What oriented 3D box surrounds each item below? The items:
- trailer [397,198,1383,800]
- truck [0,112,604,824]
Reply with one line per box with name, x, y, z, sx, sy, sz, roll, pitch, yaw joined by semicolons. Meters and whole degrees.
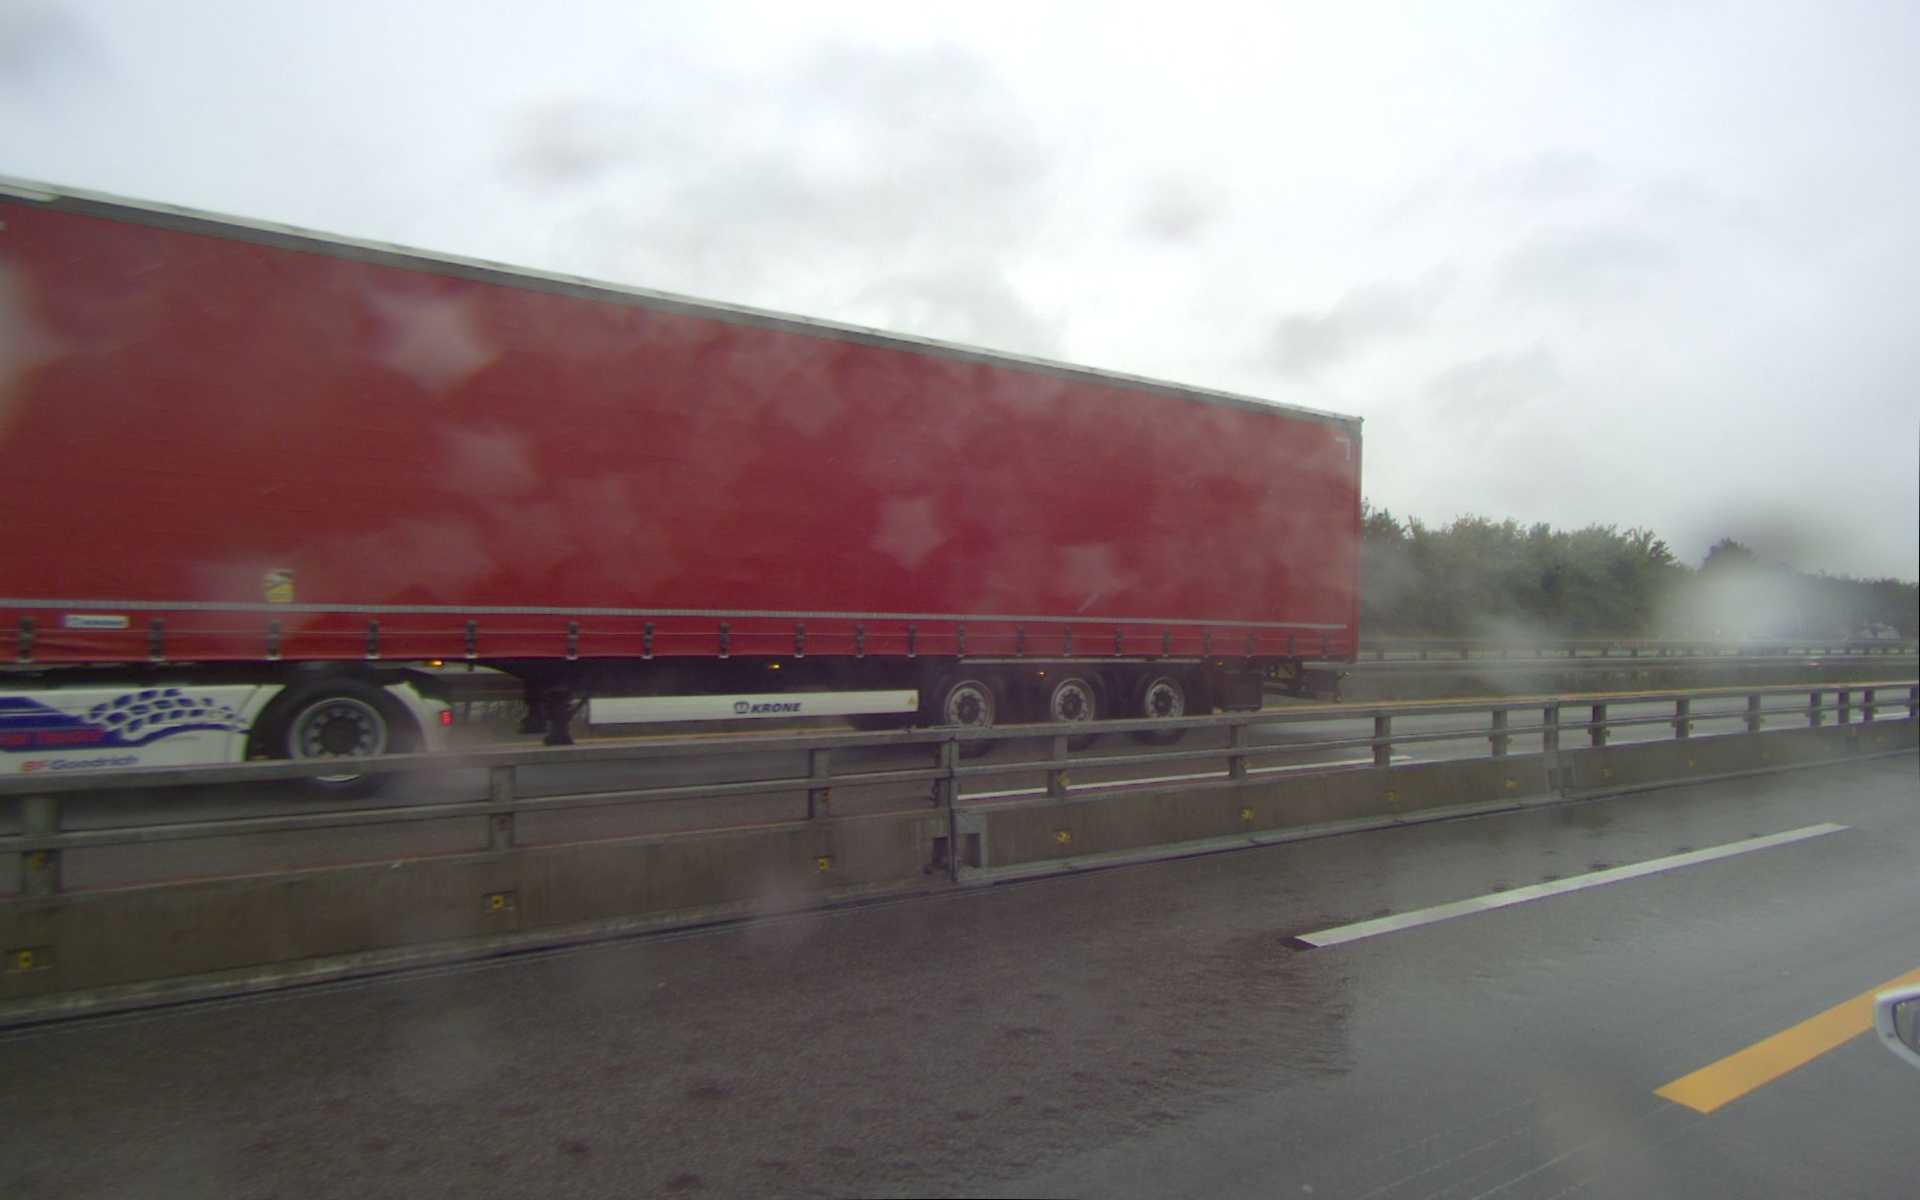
trailer;-0.023;-0.554;11.336;10.932;4.351;2.961;2;-2;-31
truck;-6.464;-0.777;7.455;6.721;4.328;2.993;2;-2;-30
